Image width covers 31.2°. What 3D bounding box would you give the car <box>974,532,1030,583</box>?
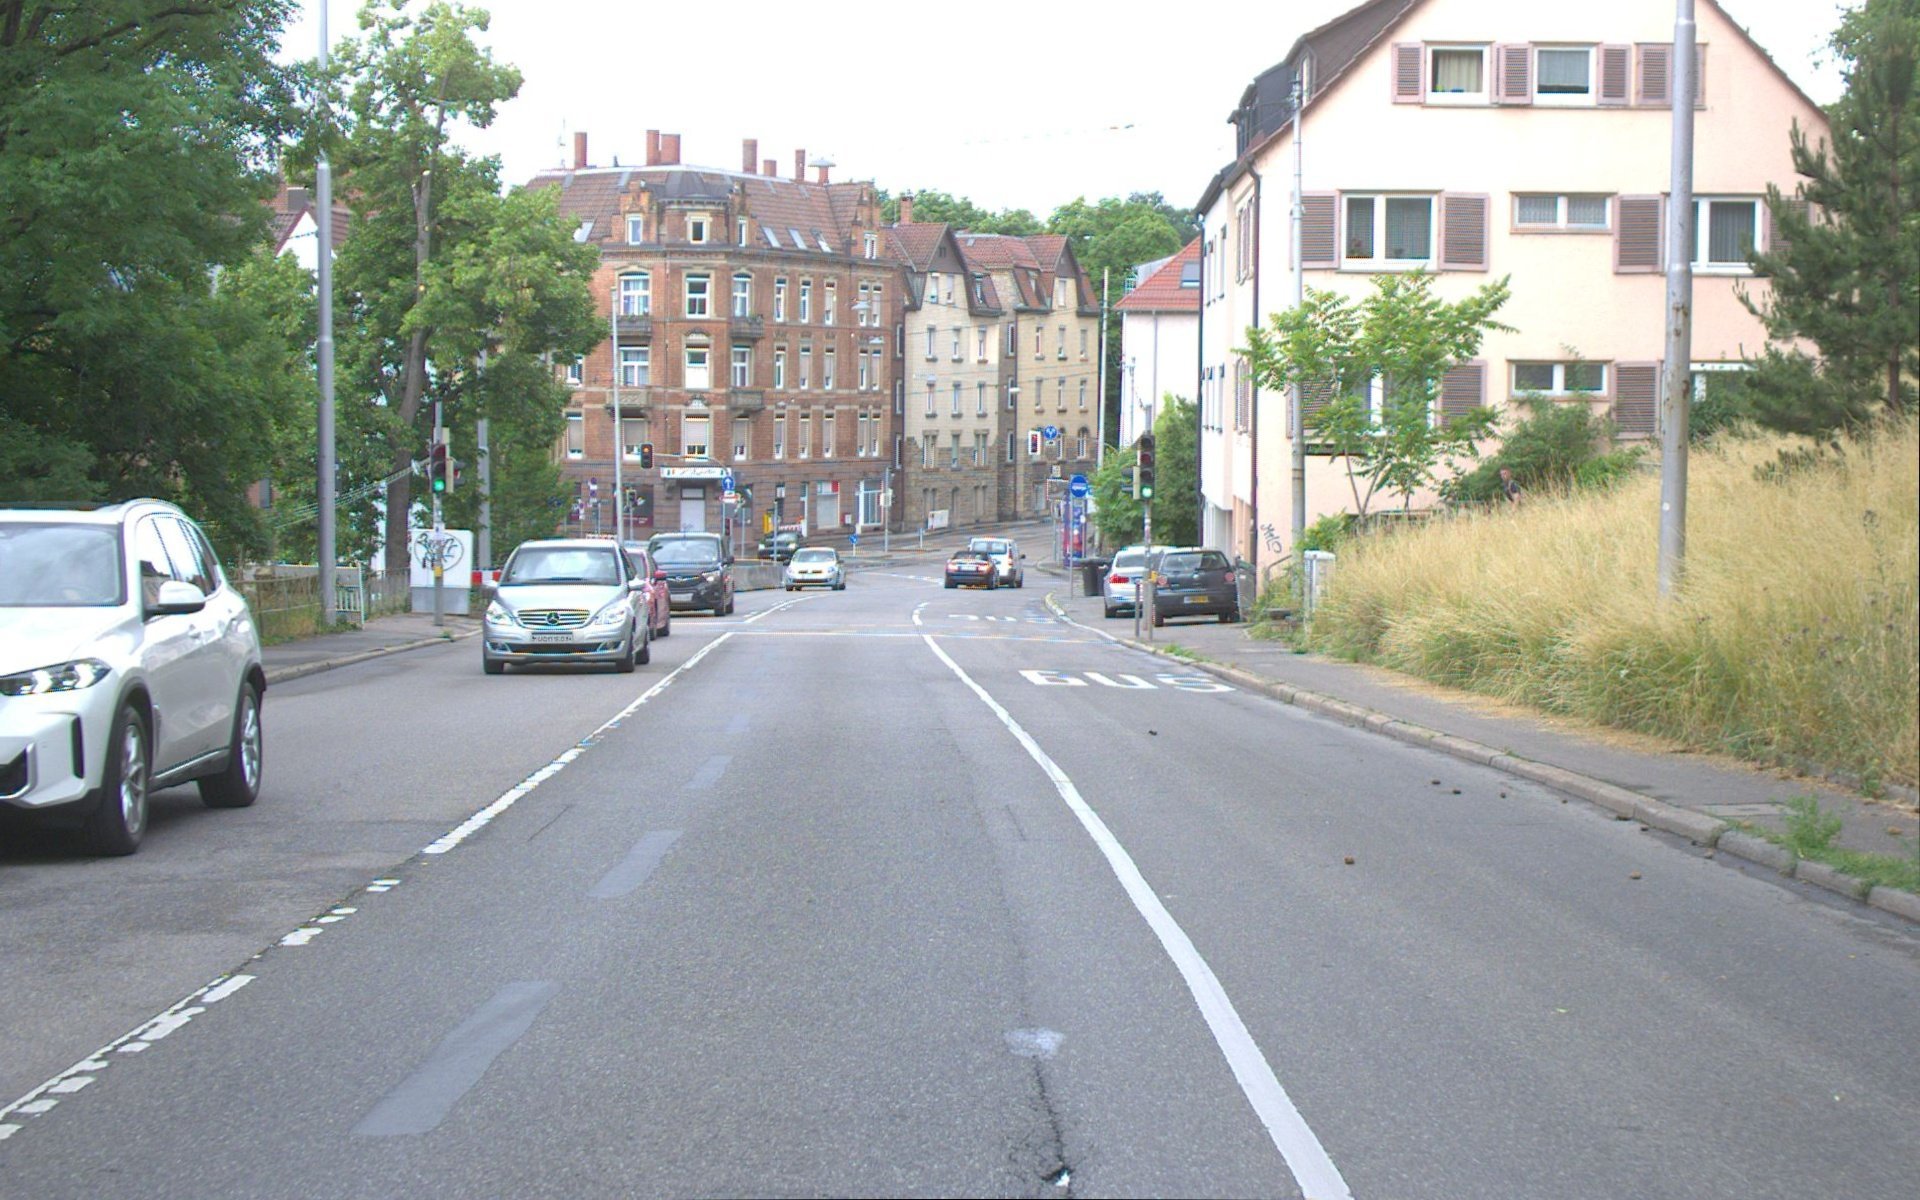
[{"bbox_3d":[1.648,-1.628,132.596,1.909,1.877,4.000,2,1,4],"label":"car"}]

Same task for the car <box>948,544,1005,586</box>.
[{"bbox_3d":[0.609,-1.297,126.020,1.816,1.425,4.000,2,1,4],"label":"car"}]

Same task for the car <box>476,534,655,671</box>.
[{"bbox_3d":[-4.776,0.003,42.083,1.783,1.569,4.281,-1,1,-1],"label":"car"}]

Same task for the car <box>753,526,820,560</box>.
[{"bbox_3d":[-8.236,-2.712,163.222,1.983,1.569,4.372,-1,1,14],"label":"car"}]

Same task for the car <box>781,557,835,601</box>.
[{"bbox_3d":[-5.120,-0.725,116.029,1.720,1.440,4.159,-1,1,-1],"label":"car"}]

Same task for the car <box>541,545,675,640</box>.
[{"bbox_3d":[-5.629,-0.145,55.381,1.783,1.454,4.429,-1,1,-1],"label":"car"}]

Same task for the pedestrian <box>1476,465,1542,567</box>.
[{"bbox_3d":[9.359,-1.427,58.600,0.887,1.690,0.873,2,0,-4],"label":"pedestrian"}]

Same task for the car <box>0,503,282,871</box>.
[{"bbox_3d":[-4.990,0.361,18.001,1.995,1.677,4.664,-1,1,-1],"label":"car"}]

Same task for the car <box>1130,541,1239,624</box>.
[{"bbox_3d":[4.253,-0.340,65.601,1.681,1.446,4.000,-3,0,-1],"label":"car"}]

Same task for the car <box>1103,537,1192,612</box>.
[{"bbox_3d":[4.025,-0.582,74.394,1.794,1.446,4.718,-3,1,3],"label":"car"}]

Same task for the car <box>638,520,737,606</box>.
[{"bbox_3d":[-5.735,-0.790,72.853,1.784,1.740,4.429,-1,1,-1],"label":"car"}]
